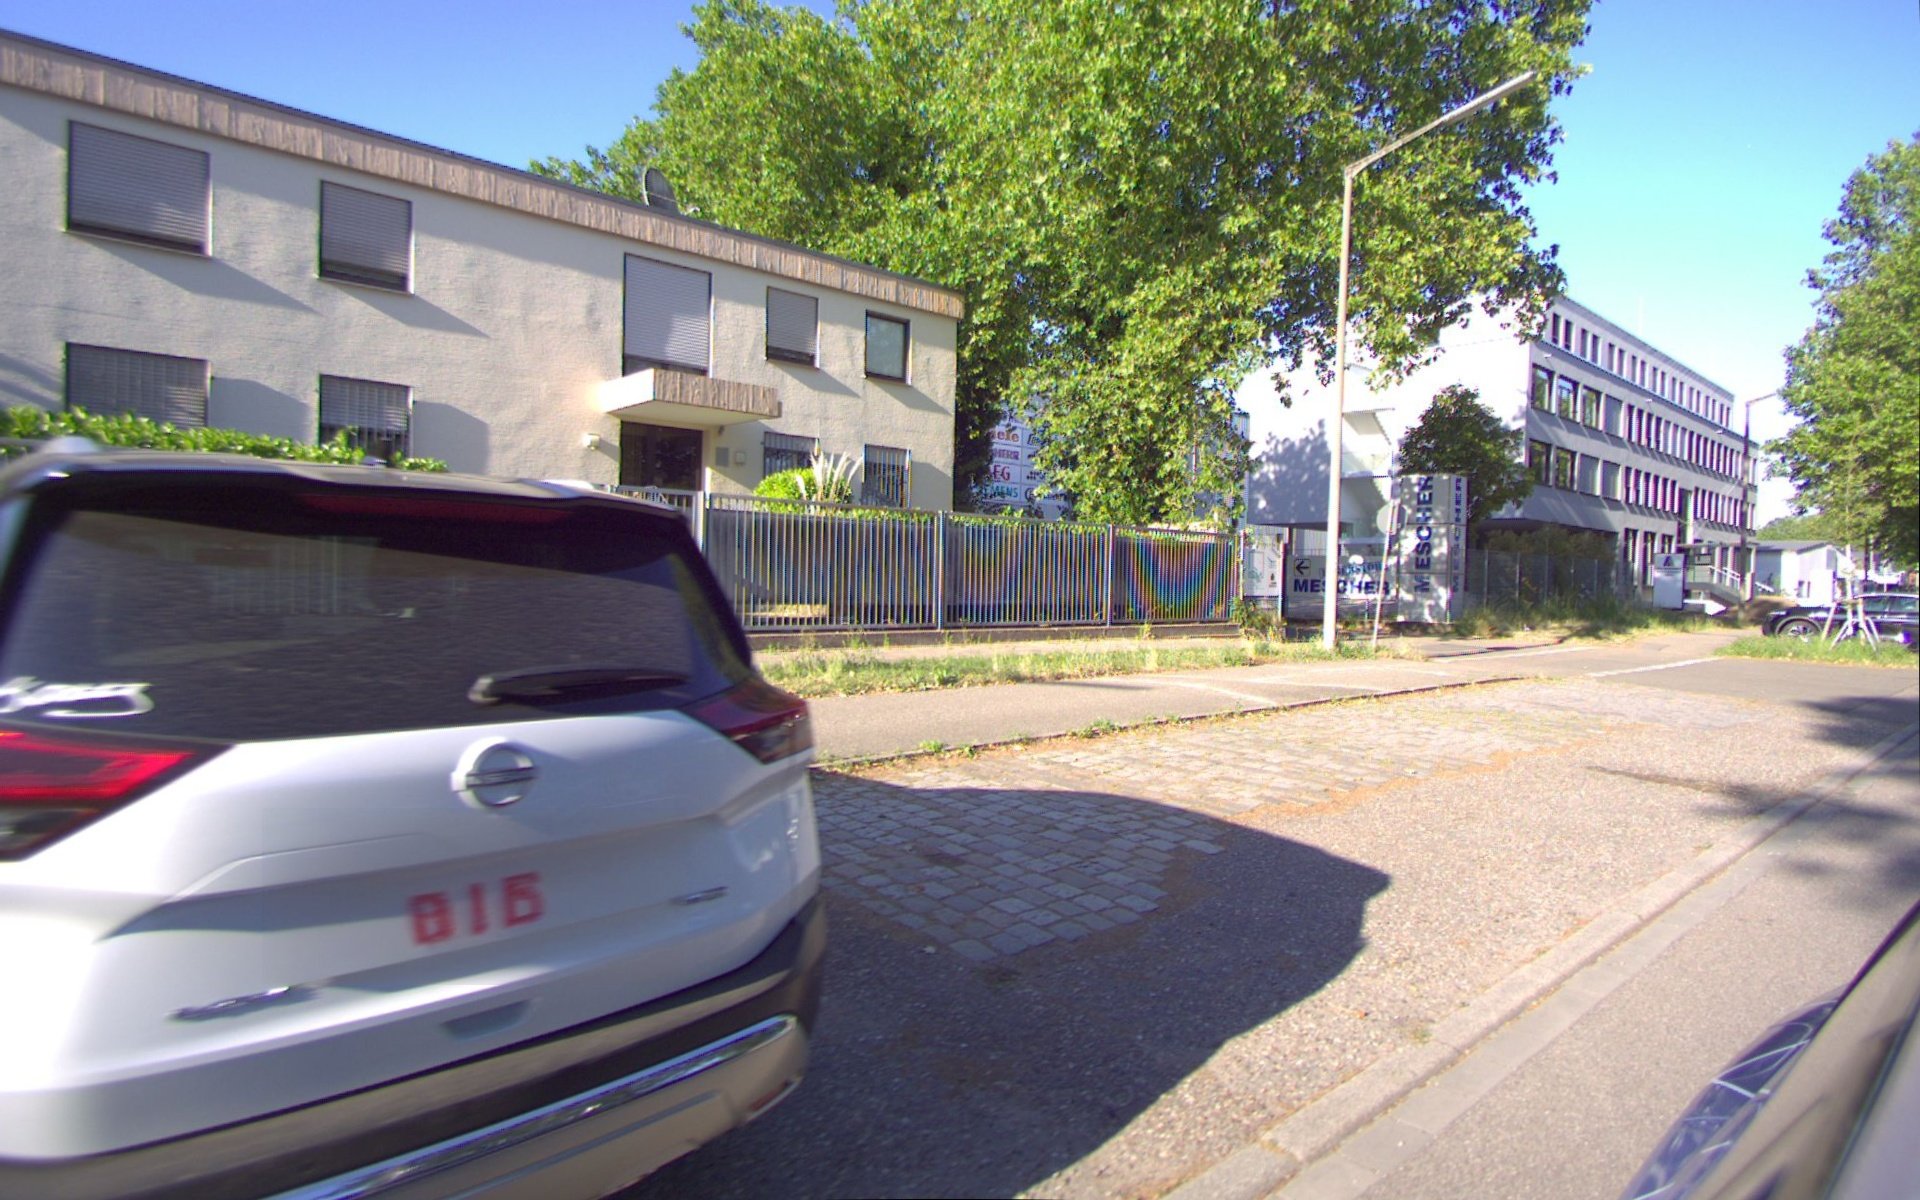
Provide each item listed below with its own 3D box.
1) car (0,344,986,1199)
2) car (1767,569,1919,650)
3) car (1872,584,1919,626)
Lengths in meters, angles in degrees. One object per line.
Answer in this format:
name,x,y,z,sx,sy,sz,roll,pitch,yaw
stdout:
car,-2.256,0.350,3.208,1.966,1.732,4.635,0,6,-42
car,23.370,0.275,25.381,1.911,1.735,4.577,0,6,-44
car,37.369,0.283,38.469,1.829,1.504,3.792,0,4,-42
